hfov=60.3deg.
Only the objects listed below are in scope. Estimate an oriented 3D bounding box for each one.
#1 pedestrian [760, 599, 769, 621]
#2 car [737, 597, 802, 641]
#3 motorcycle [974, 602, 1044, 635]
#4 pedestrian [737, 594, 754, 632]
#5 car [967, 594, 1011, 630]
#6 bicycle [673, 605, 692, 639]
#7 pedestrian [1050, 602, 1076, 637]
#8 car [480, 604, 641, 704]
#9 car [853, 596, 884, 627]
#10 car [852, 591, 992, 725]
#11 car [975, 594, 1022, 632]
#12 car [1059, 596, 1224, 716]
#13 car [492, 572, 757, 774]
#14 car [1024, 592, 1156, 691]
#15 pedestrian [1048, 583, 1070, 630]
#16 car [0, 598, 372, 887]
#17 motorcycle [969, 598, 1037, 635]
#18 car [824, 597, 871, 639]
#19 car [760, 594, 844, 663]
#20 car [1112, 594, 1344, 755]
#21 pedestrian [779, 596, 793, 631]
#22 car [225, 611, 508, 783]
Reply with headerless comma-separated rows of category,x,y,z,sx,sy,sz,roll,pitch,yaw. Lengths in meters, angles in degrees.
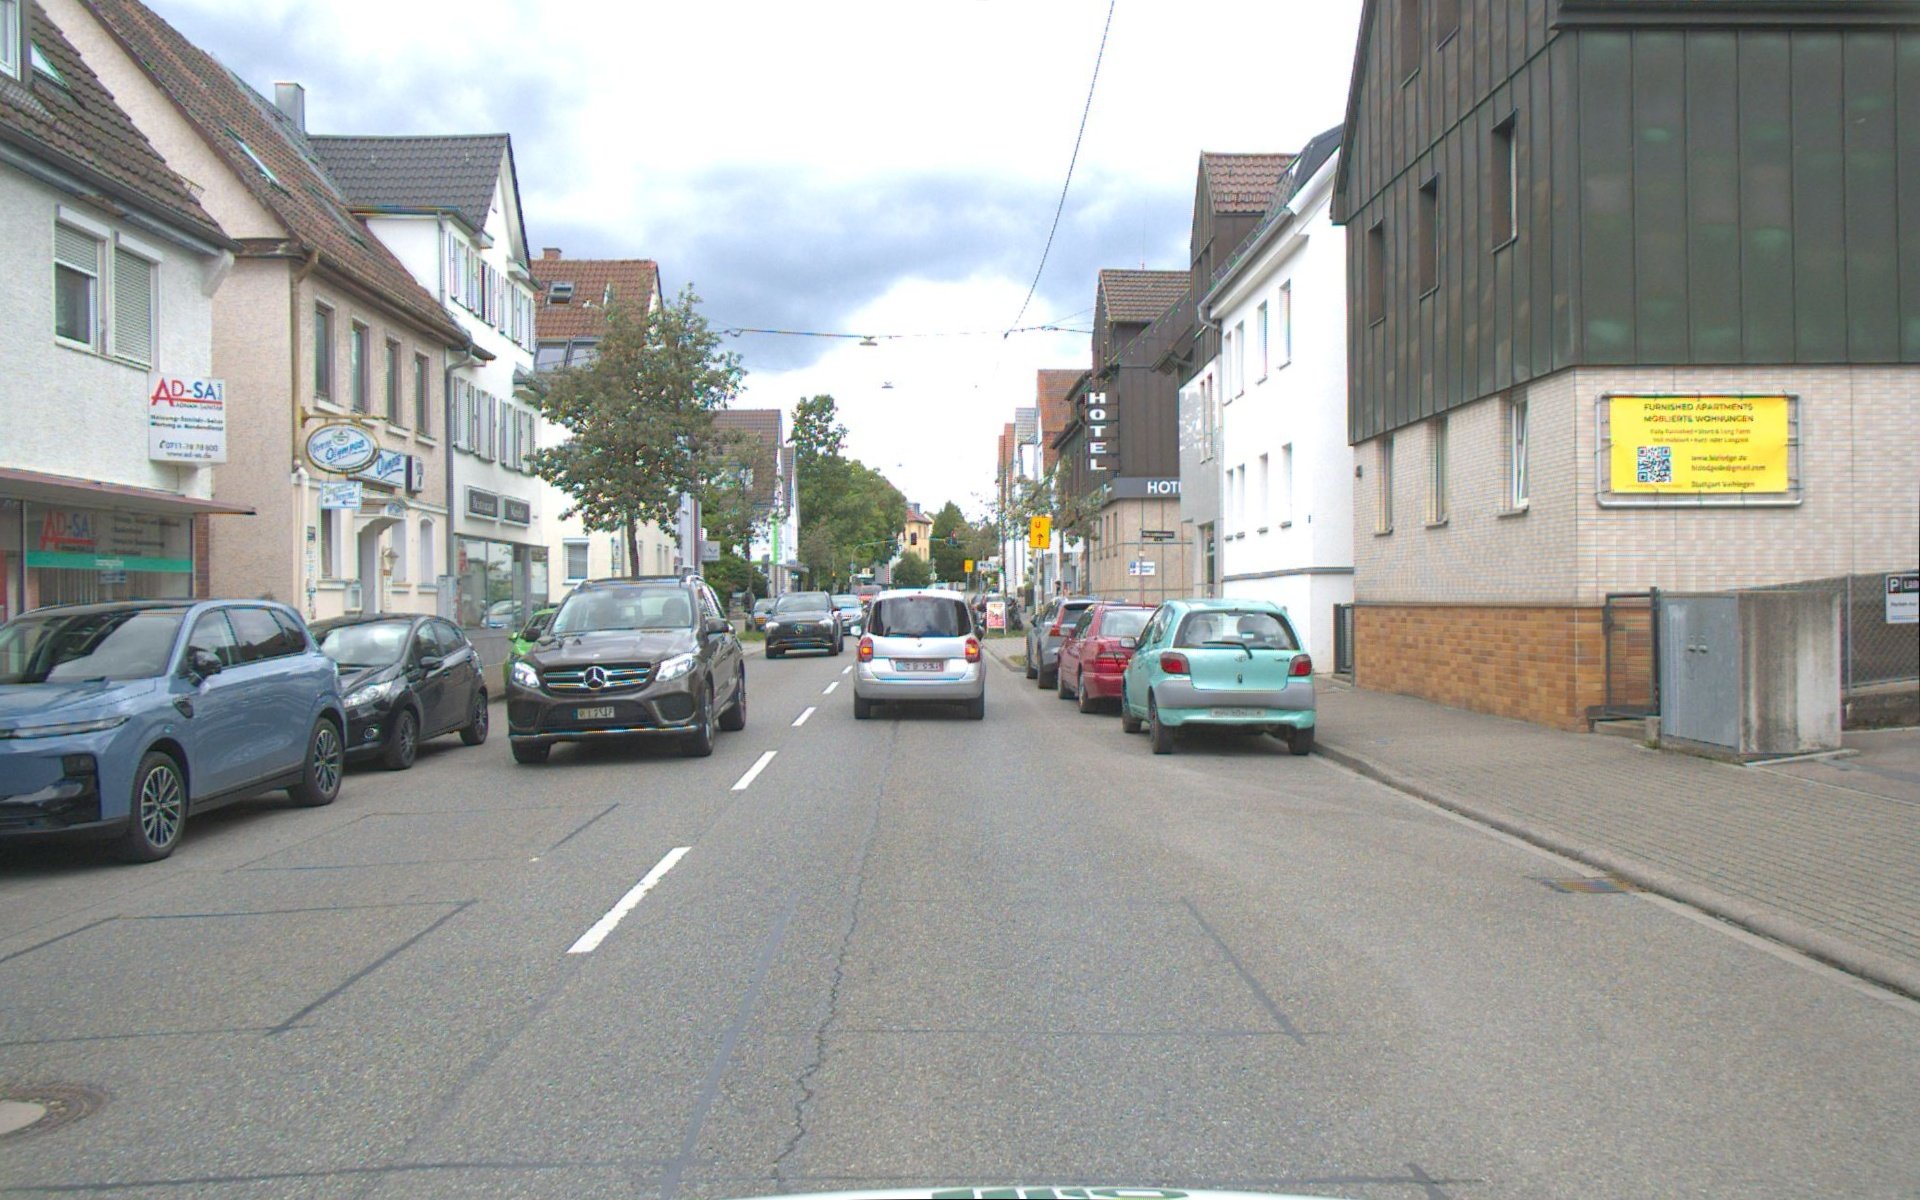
pedestrian,-11.260,0.578,95.350,0.482,1.300,0.588,0,0,-2
car,-7.160,0.686,62.559,1.909,1.493,4.515,-3,0,-1
motorcycle,1.834,0.689,61.547,2.701,1.204,0.692,0,0,-32
pedestrian,-10.462,0.635,80.720,0.747,1.822,0.889,0,0,-2
car,1.192,0.510,70.537,1.666,1.493,4.237,0,0,-2
bicycle,-9.919,0.779,59.067,0.504,1.174,1.665,0,0,-4
pedestrian,4.203,0.795,67.553,0.870,1.322,0.966,-4,0,-1
car,-6.524,0.832,27.419,1.648,1.473,4.020,-2,0,0
car,-6.014,0.749,109.049,1.913,2.049,3.999,0,0,-2
car,-0.476,0.693,21.759,1.648,1.593,3.993,1,0,-1
car,1.497,0.516,65.733,1.666,1.455,3.889,0,0,-2
car,2.377,0.691,22.680,1.719,1.471,4.454,1,0,-1
car,-3.326,0.664,17.268,1.862,1.768,4.365,-2,0,-1
car,2.147,0.659,28.382,1.837,1.566,4.512,0,0,-1
pedestrian,4.158,0.285,69.337,0.839,1.961,0.899,0,0,-1
car,-5.780,0.834,11.589,1.766,1.627,4.304,-2,0,-1
motorcycle,1.637,0.612,62.587,2.681,1.359,0.692,0,0,-32
car,-4.193,0.645,61.740,1.649,1.473,4.017,-2,0,-4
car,-3.964,0.683,42.071,1.758,1.606,4.191,-2,0,-1
car,2.742,0.710,17.787,1.794,1.524,3.993,1,0,-1
pedestrian,-9.757,0.758,92.791,0.746,1.909,0.695,0,0,-2
car,-5.898,0.892,16.898,1.549,1.534,3.811,0,0,-1
